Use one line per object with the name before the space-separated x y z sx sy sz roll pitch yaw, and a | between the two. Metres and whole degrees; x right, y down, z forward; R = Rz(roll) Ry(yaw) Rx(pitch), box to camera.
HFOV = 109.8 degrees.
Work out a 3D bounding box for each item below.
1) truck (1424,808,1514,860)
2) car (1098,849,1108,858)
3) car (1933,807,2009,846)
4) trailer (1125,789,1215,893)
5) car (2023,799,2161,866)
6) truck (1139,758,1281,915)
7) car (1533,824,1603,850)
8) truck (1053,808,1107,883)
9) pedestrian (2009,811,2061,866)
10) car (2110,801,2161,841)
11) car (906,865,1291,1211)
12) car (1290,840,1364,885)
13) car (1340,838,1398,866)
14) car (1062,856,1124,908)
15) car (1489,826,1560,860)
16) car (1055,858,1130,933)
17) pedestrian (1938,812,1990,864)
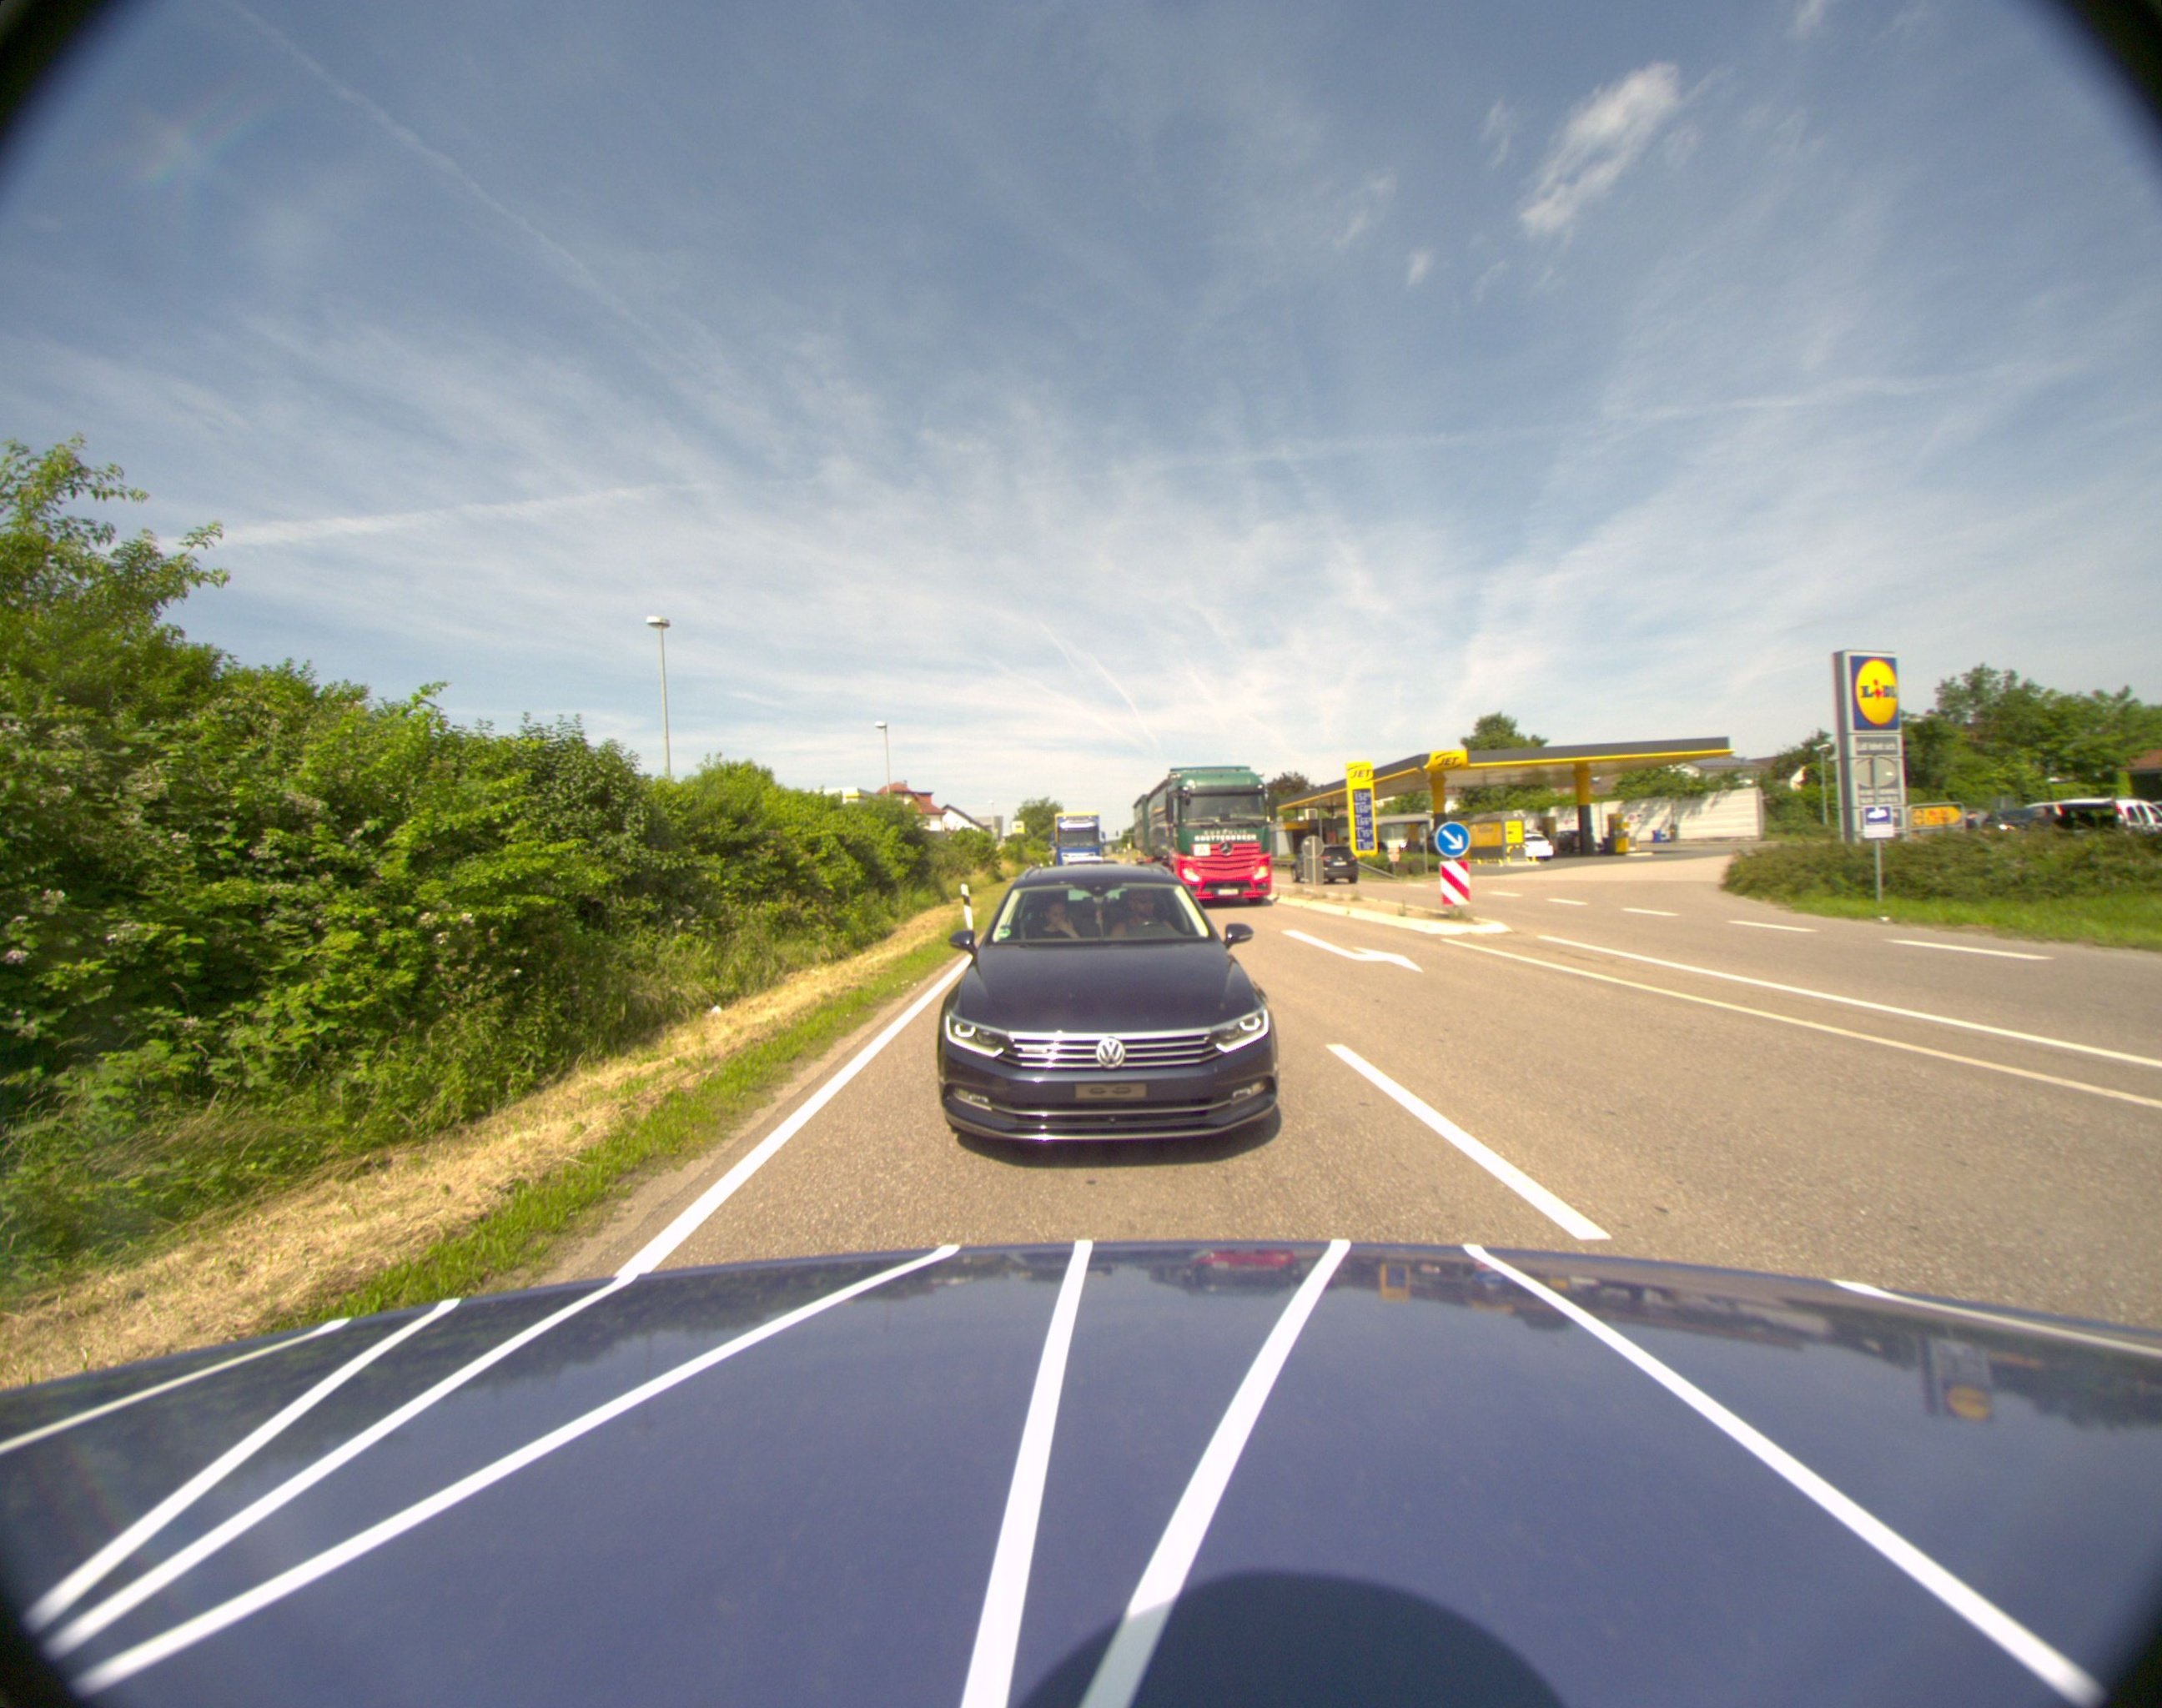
truck | 23.840 -1.185 47.026 2.250 2.906 6.282 -2 1 -1
car | 4.036 -0.068 139.271 1.819 1.626 3.893 -2 0 1
car | 38.908 -1.211 33.311 1.765 1.531 4.007 -4 -1 45
trailer | 3.711 -0.523 33.832 2.808 3.897 8.669 -3 0 0
car | 30.679 -0.666 22.823 4.172 1.801 1.877 -3 1 -23
truck | 3.699 -0.468 24.500 2.675 3.897 10.049 -3 0 0
car | 32.182 -1.094 50.332 1.753 1.603 3.873 -2 0 -10
truck | 0.030 -0.523 48.124 2.855 3.999 12.916 -2 0 1
pedestrian | 27.588 -0.443 21.976 0.705 1.566 0.807 -3 2 -27
car | 44.664 -1.429 30.781 3.999 1.531 1.769 -3 0 -7
car | 0.119 0.903 6.031 1.756 1.493 4.925 -2 0 1
car | 10.406 0.324 32.427 1.871 1.739 4.111 -2 0 2
car | 19.026 -0.135 50.411 1.999 1.696 4.263 -2 0 -3
car | 0.395 0.852 24.764 1.814 1.466 3.973 -2 0 1
car | 24.232 -0.575 41.634 1.736 1.718 4.001 -1 0 3
car | 0.264 0.860 17.403 1.471 1.451 3.797 -2 0 1
pedestrian | 26.973 -0.481 23.216 0.703 1.566 0.810 -2 0 20
